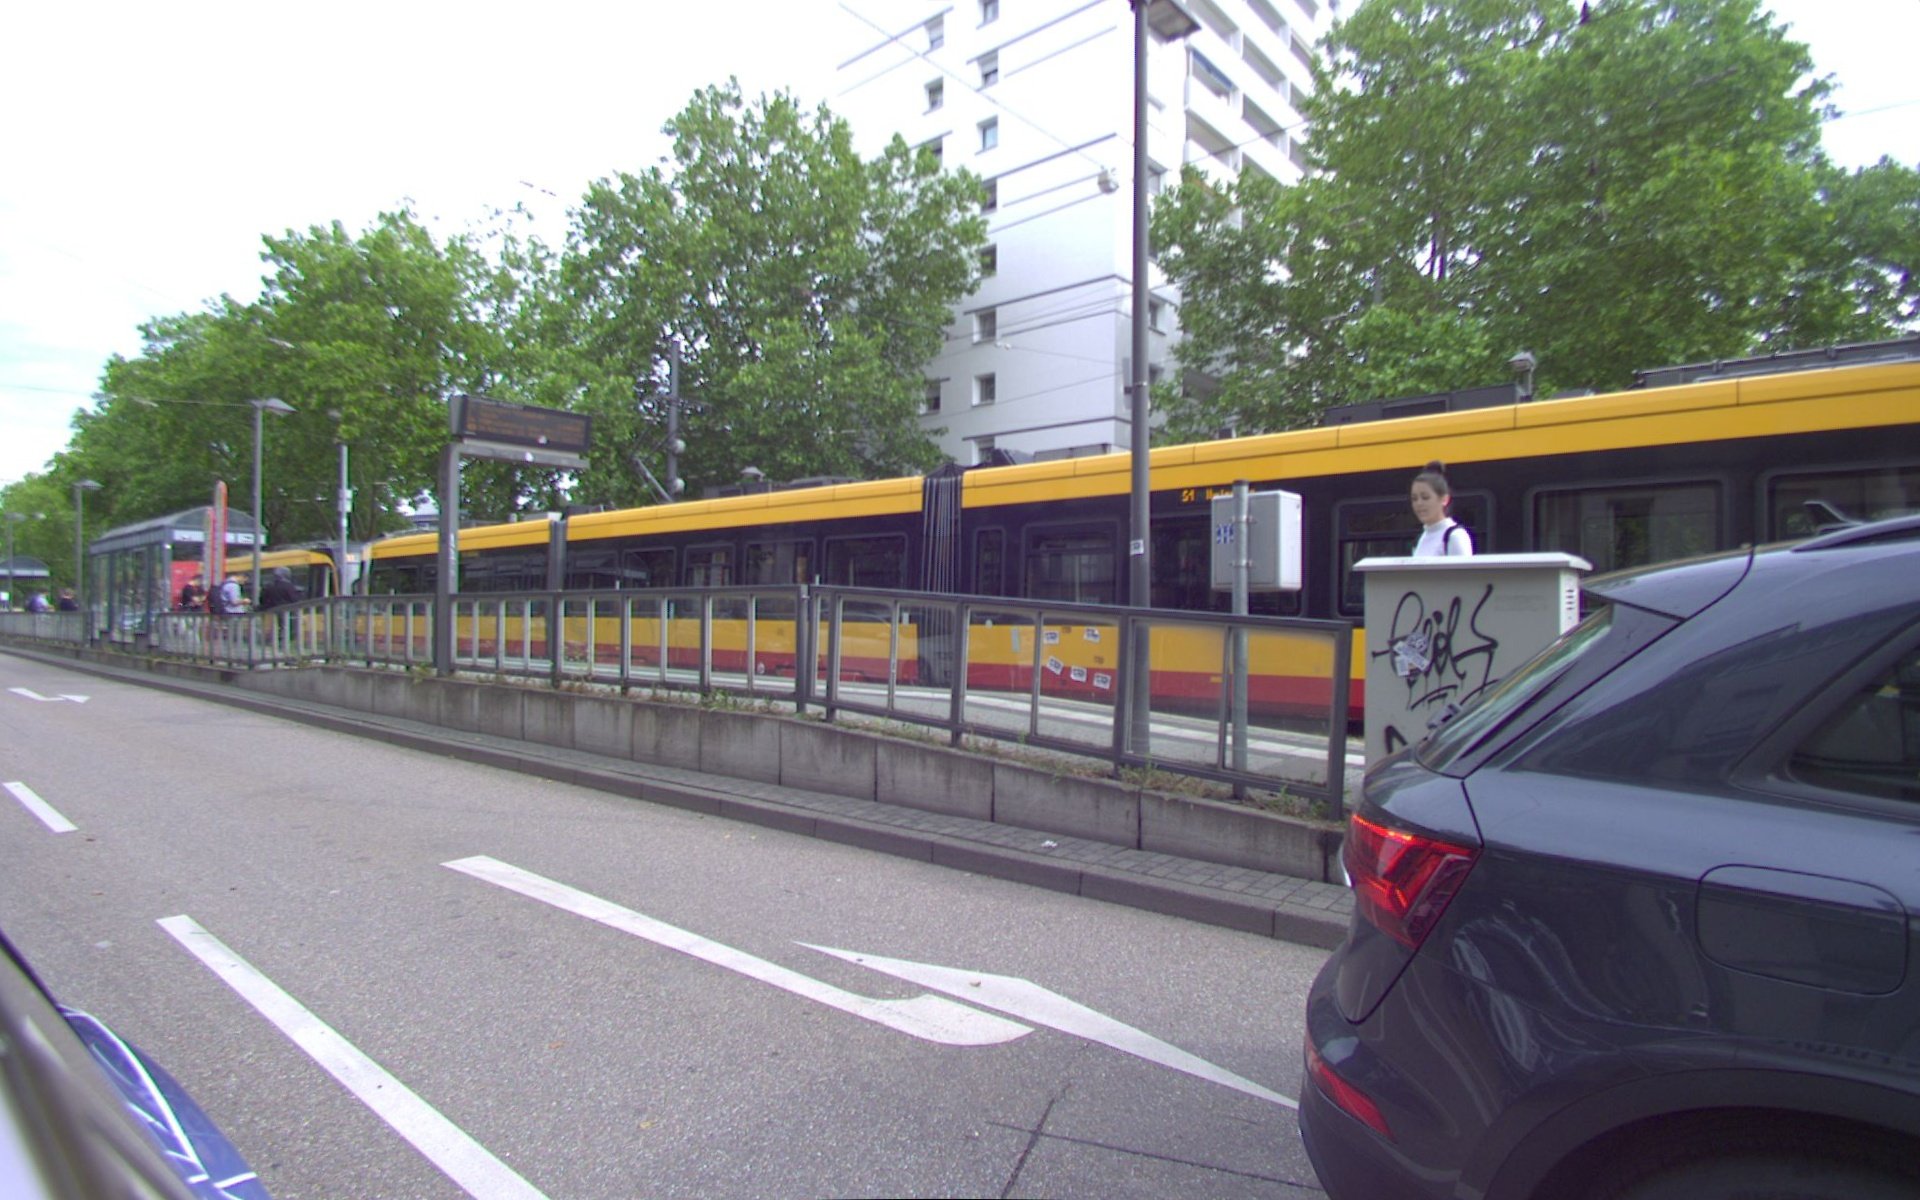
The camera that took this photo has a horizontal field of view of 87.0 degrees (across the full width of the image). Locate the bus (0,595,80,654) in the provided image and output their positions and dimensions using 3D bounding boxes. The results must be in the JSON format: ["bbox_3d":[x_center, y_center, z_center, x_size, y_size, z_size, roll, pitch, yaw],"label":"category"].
[{"bbox_3d":[-33.970,0.850,37.173,3.998,2.029,1.973,0,0,41],"label":"bus"}]

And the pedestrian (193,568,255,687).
[{"bbox_3d":[-12.914,0.466,17.784,0.742,2.029,0.821,-1,0,-26],"label":"pedestrian"}]

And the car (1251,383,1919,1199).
[{"bbox_3d":[2.748,0.543,1.025,4.354,1.613,1.861,-1,0,40],"label":"car"}]

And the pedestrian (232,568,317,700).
[{"bbox_3d":[-10.746,0.521,15.887,0.808,2.029,0.754,-1,0,4],"label":"pedestrian"}]

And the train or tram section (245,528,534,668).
[{"bbox_3d":[-18.543,-0.016,31.918,15.287,3.558,3.028,0,0,41],"label":"train or tram section"}]

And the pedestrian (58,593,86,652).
[{"bbox_3d":[-25.384,0.640,28.930,0.730,1.645,0.506,-1,0,42],"label":"pedestrian"}]

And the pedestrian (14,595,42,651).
[{"bbox_3d":[-34.310,0.839,37.259,0.587,2.029,0.668,-1,0,38],"label":"pedestrian"}]

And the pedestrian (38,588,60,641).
[{"bbox_3d":[-28.969,0.458,32.178,0.392,1.645,0.474,-1,0,42],"label":"pedestrian"}]

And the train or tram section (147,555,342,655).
[{"bbox_3d":[-30.205,0.204,42.154,15.764,3.558,3.028,0,0,41],"label":"train or tram section"}]

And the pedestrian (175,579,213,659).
[{"bbox_3d":[-15.978,0.384,21.111,0.471,1.645,0.526,-1,0,39],"label":"pedestrian"}]

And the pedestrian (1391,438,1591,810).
[{"bbox_3d":[2.663,0.106,5.068,0.730,1.674,0.746,-1,0,41],"label":"pedestrian"}]

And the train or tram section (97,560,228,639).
[{"bbox_3d":[-40.814,-0.012,51.528,12.534,3.588,3.060,0,0,41],"label":"train or tram section"}]

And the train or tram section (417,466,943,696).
[{"bbox_3d":[-7.054,-0.265,21.807,15.287,3.558,3.028,0,0,41],"label":"train or tram section"}]

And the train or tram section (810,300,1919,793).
[{"bbox_3d":[4.634,-0.380,11.542,15.841,3.615,3.028,0,0,41],"label":"train or tram section"}]

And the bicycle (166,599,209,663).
[{"bbox_3d":[-15.336,0.609,20.088,1.289,1.231,0.414,-1,0,41],"label":"bicycle"}]
